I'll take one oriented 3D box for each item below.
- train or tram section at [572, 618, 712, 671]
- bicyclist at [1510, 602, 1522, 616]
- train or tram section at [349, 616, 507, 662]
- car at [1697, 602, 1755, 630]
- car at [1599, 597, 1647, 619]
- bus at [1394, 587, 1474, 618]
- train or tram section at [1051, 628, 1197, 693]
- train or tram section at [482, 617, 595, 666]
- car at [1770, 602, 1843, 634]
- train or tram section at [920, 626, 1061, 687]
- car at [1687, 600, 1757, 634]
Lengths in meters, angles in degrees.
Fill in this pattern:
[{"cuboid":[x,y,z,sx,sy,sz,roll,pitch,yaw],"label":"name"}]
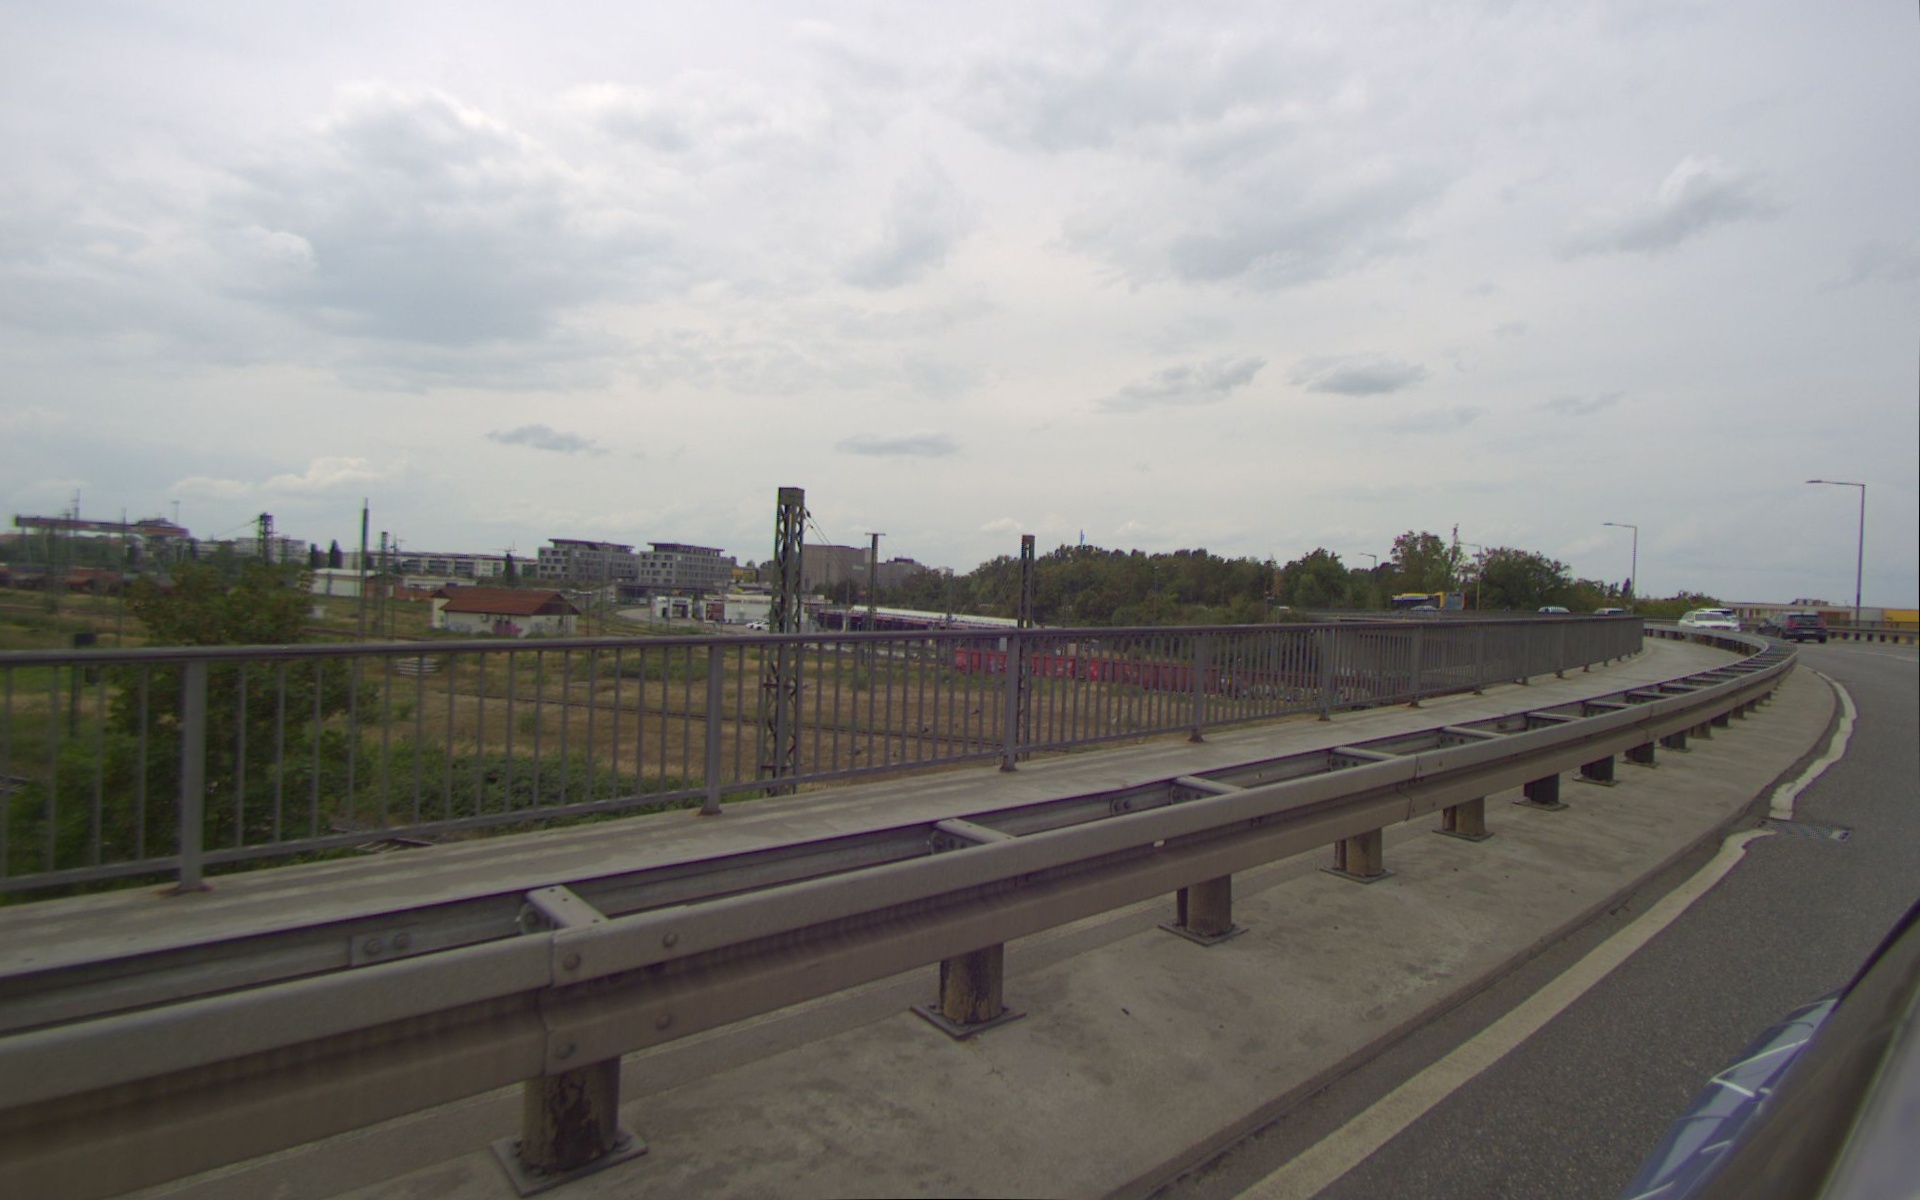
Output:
[{"cuboid":[-38.152,5.191,120.922,18.082,5.714,3.926,0,0,25],"label":"train or tram section"},{"cuboid":[56.724,0.911,103.228,0.698,1.463,0.749,0,-2,-9],"label":"bicyclist"},{"cuboid":[-72.049,5.069,136.583,25.403,5.550,3.961,0,0,24],"label":"train or tram section"},{"cuboid":[46.307,0.952,61.265,1.927,1.613,4.730,0,0,26],"label":"car"},{"cuboid":[50.216,0.612,76.721,1.798,1.641,4.375,0,0,16],"label":"car"},{"cuboid":[52.862,0.244,113.455,2.984,3.274,12.948,0,0,0],"label":"bus"},{"cuboid":[15.763,5.703,97.857,13.495,5.645,3.624,0,0,23],"label":"train or tram section"},{"cuboid":[-53.438,5.108,128.100,15.399,5.696,3.771,0,0,25],"label":"train or tram section"},{"cuboid":[41.211,0.850,49.387,1.797,1.495,4.340,0,0,27],"label":"car"},{"cuboid":[3.034,5.671,103.128,14.088,5.670,3.632,0,0,22],"label":"train or tram section"},{"cuboid":[38.347,0.808,51.047,1.919,1.474,3.854,4,2,24],"label":"car"}]
